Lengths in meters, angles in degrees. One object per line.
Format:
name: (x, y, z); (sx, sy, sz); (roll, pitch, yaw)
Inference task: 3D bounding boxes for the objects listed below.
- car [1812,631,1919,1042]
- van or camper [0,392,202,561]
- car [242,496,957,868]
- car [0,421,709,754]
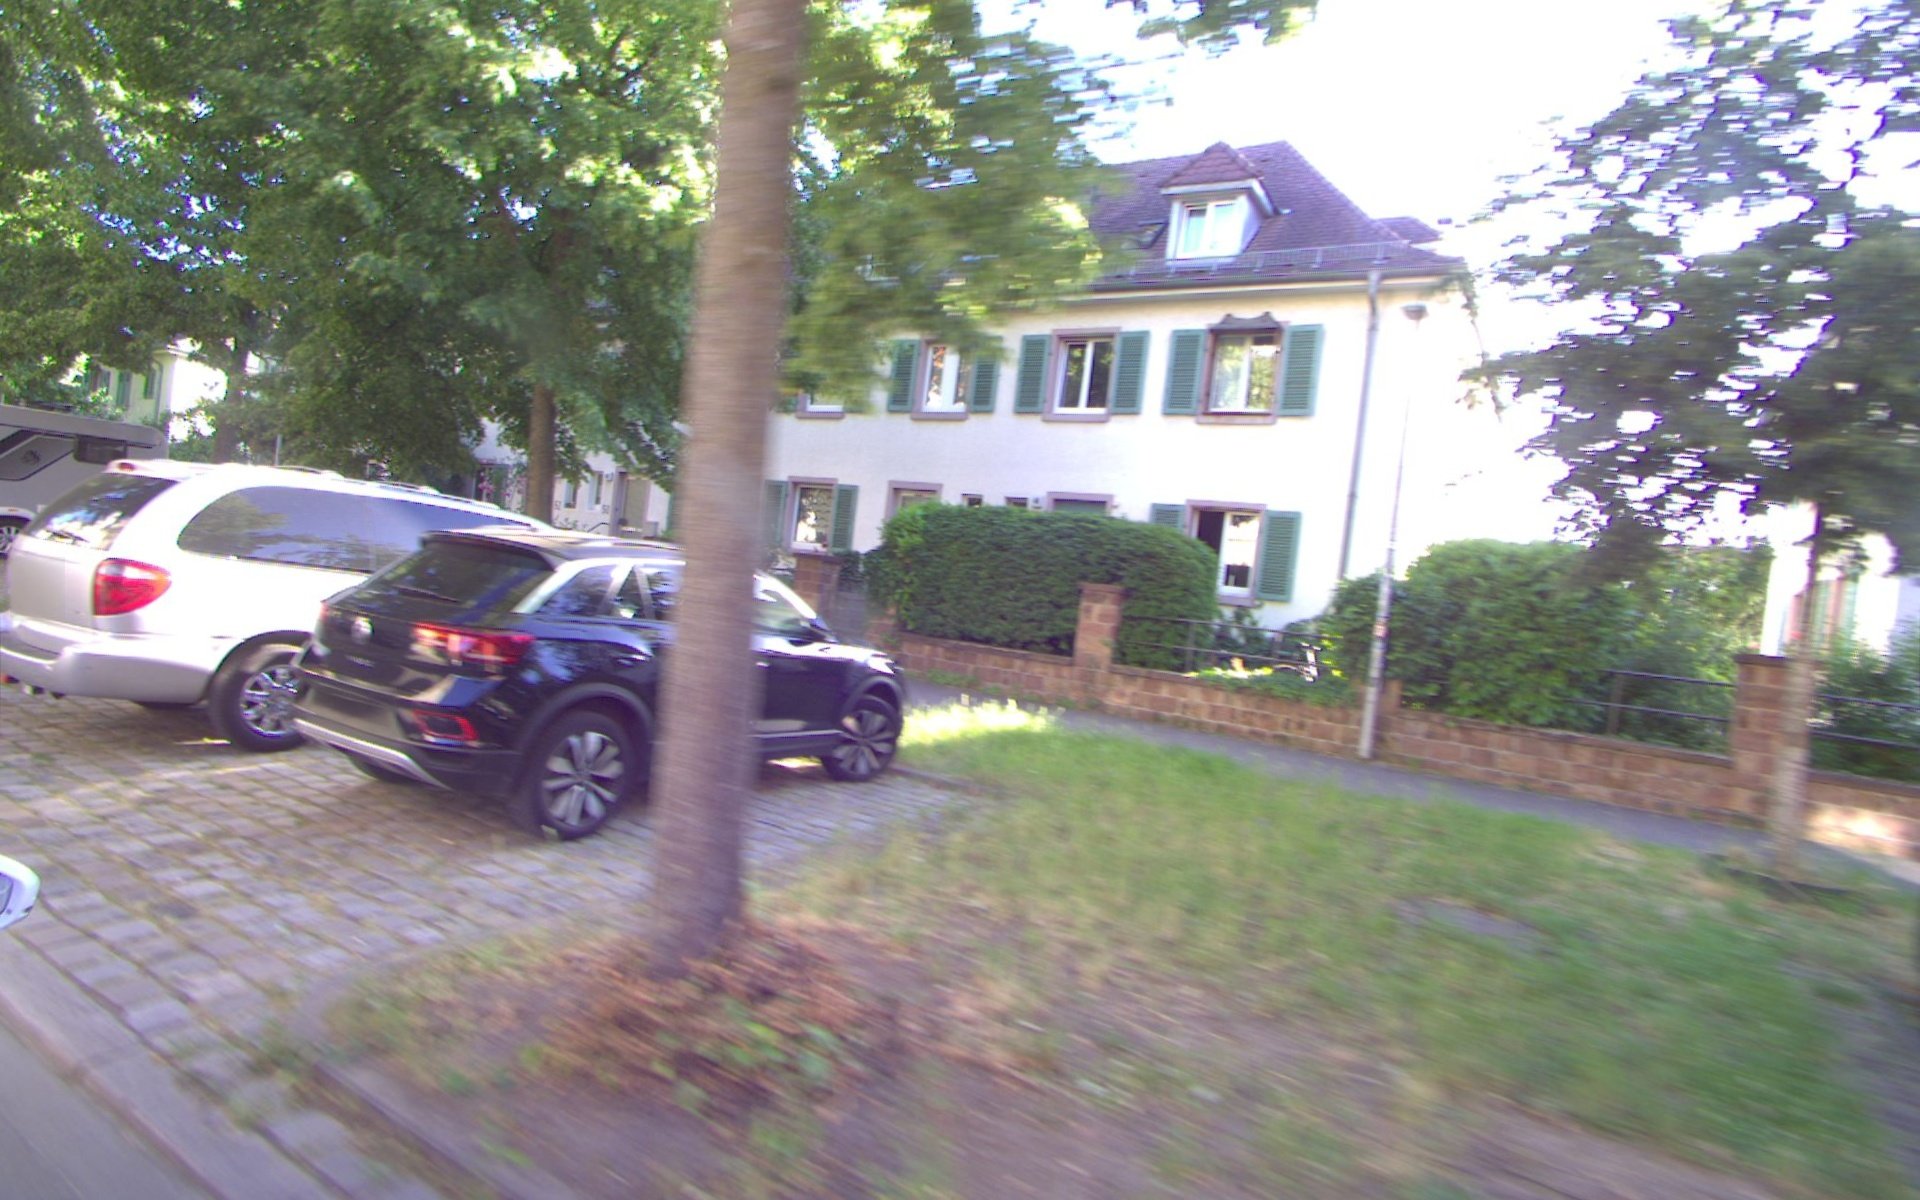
car: (4.369, 1.072, 2.807); (1.780, 1.656, 4.543); (7, 3, 26)
van or camper: (-17.533, -2.276, 16.956); (2.424, 2.683, 7.142); (8, 3, 33)
car: (-1.880, 0.343, 6.445); (1.666, 1.497, 4.066); (8, 4, 32)
car: (-4.342, -0.068, 7.646); (1.803, 1.732, 4.619); (8, 2, 33)
